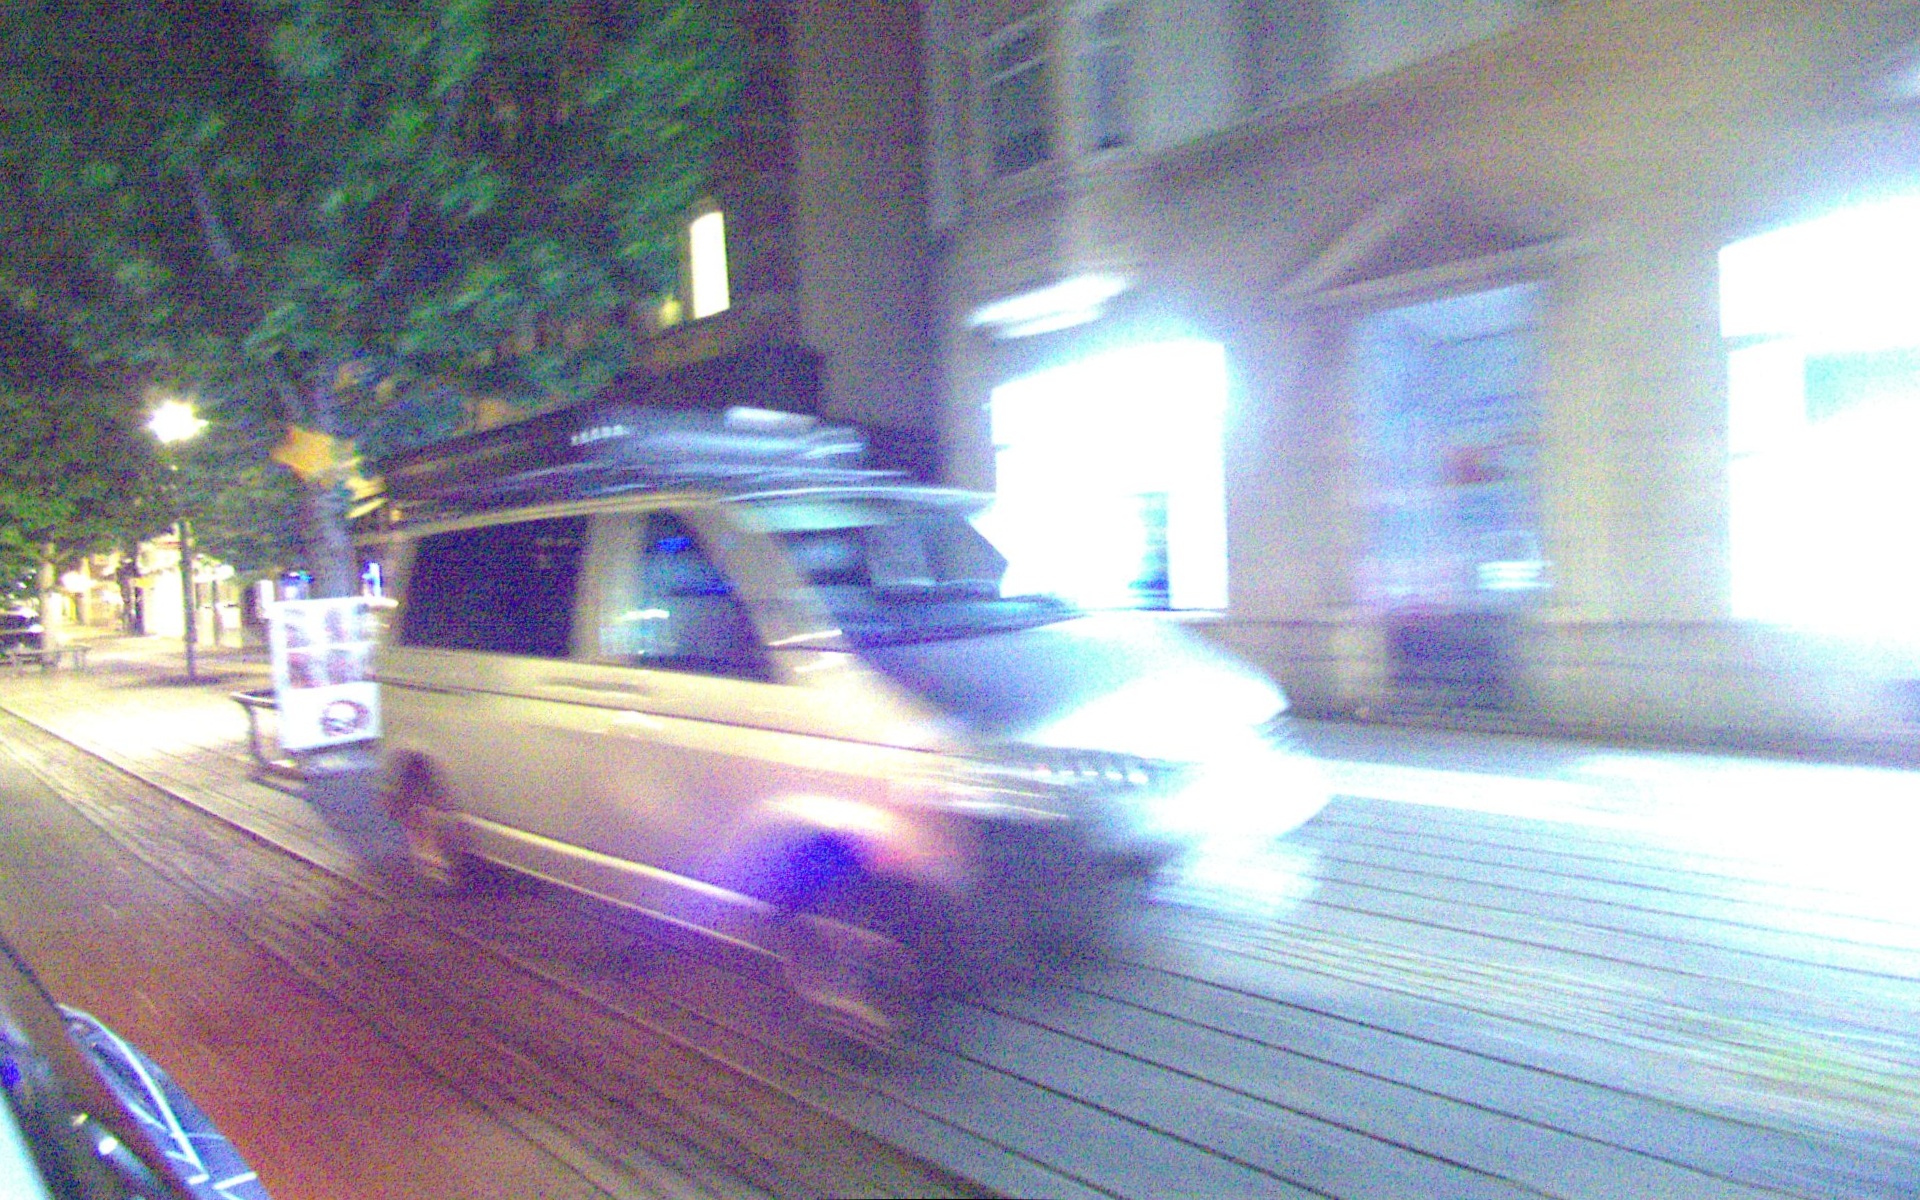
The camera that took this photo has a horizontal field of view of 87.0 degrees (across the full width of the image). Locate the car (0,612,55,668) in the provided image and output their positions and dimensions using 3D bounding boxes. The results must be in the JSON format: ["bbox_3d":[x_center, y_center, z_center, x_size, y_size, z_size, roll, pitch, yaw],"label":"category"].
[{"bbox_3d":[-28.630,1.191,30.286,3.998,1.516,1.773,-1,2,41],"label":"car"}]

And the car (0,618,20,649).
[{"bbox_3d":[-47.967,1.689,50.235,1.811,1.478,4.003,-2,1,-44],"label":"car"}]

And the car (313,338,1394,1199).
[{"bbox_3d":[-0.961,0.391,4.664,5.073,1.979,1.906,-1,2,40],"label":"car"}]
